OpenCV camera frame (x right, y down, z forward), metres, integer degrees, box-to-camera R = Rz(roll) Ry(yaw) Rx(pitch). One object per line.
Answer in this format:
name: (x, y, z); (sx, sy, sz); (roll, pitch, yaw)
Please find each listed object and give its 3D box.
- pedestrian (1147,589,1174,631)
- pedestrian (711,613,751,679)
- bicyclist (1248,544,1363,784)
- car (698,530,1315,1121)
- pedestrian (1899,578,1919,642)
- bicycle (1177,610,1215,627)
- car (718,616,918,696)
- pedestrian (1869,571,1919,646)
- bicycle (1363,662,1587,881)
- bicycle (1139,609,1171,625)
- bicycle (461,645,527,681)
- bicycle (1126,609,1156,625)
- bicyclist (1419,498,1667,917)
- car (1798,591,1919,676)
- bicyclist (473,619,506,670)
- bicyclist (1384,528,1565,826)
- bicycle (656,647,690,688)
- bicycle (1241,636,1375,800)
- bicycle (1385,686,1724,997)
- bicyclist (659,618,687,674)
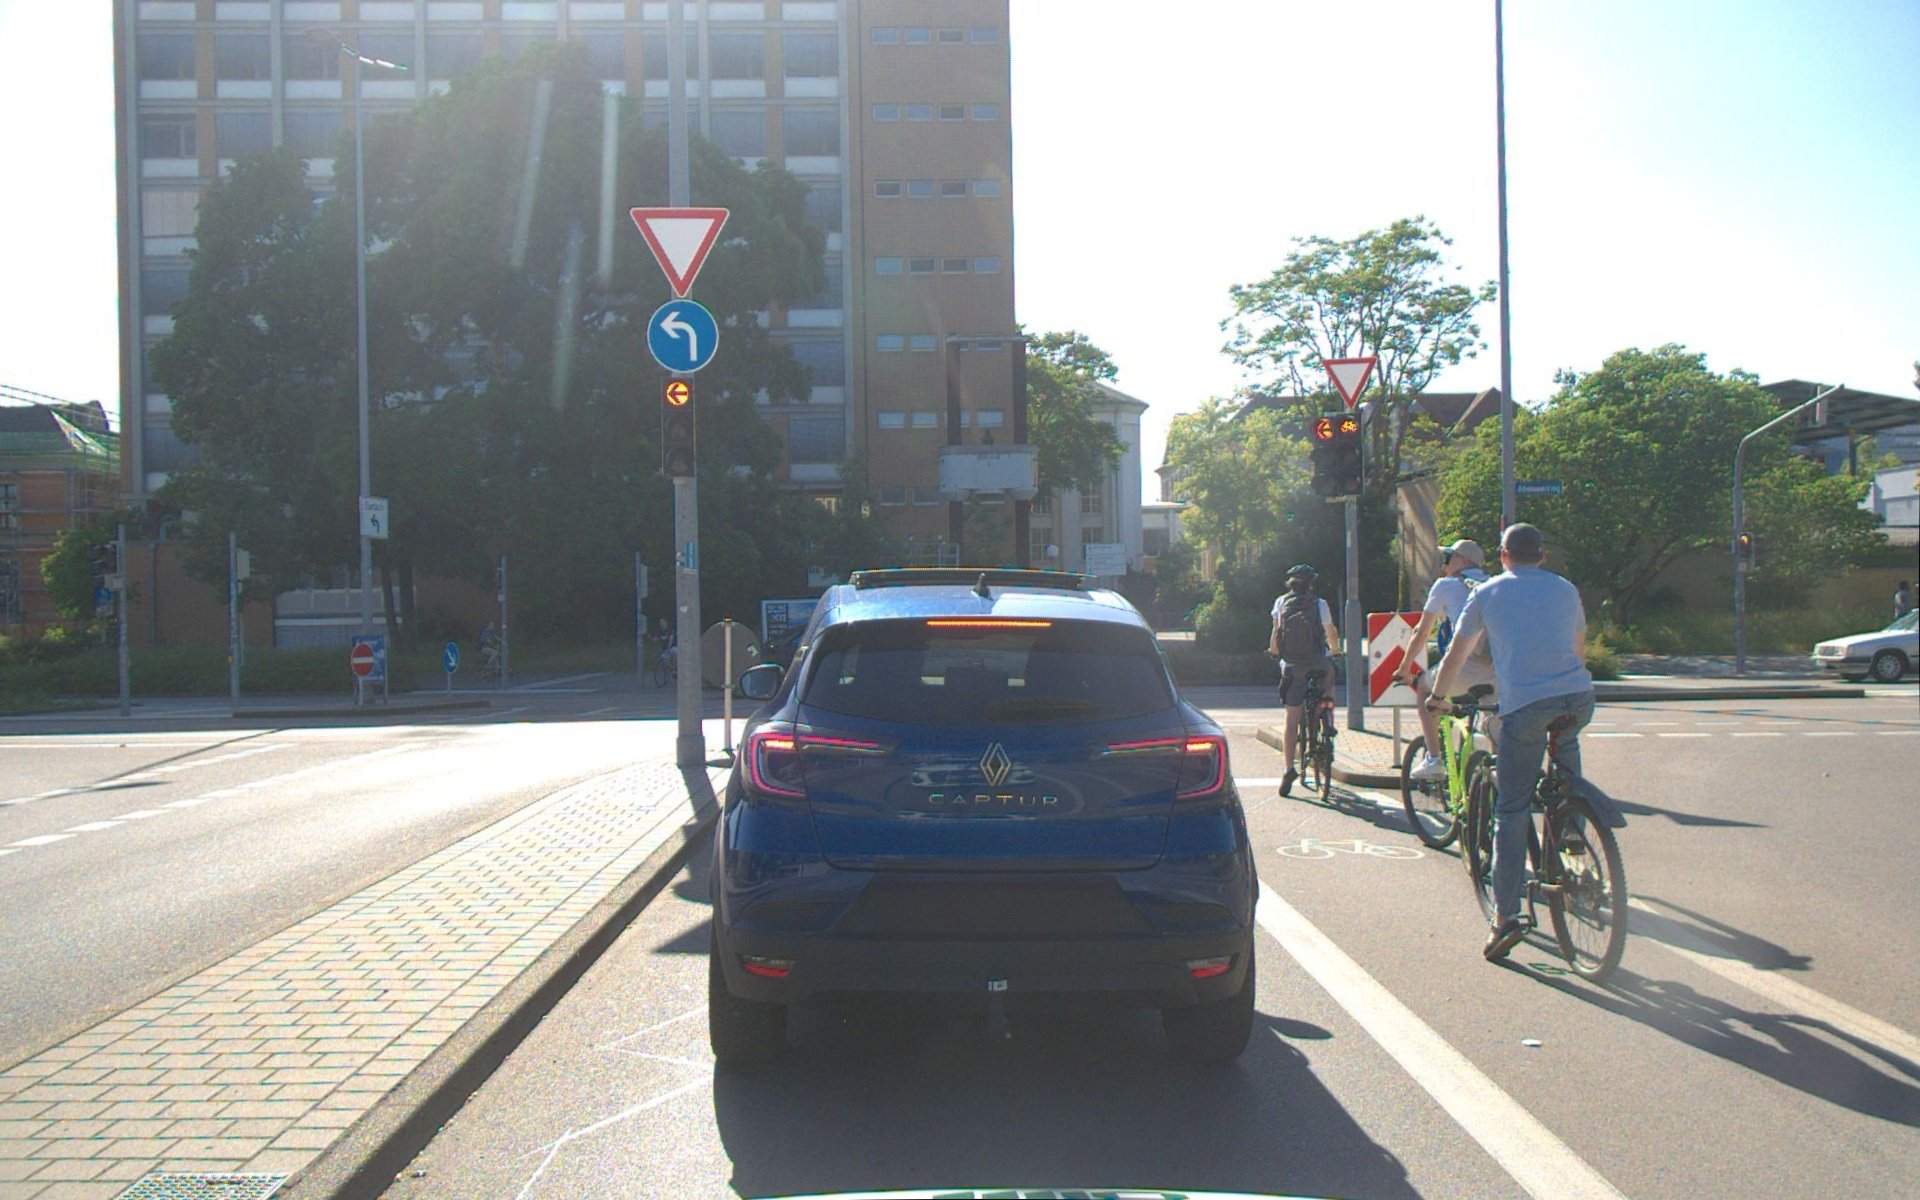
pedestrian: (9.822, 0.492, 81.216); (1.132, 2.049, 1.164); (-1, 0, -1)
pedestrian: (-6.661, 1.322, 48.115); (0.912, 1.888, 0.808); (-1, 0, 8)
bicyclist: (2.709, 0.489, 13.042); (0.663, 1.816, 0.939); (1, -1, -2)
car: (0.084, 0.642, 6.673); (1.758, 1.684, 3.852); (1, 0, -2)
pedestrian: (25.057, 0.245, 42.921); (0.960, 1.632, 0.827); (-1, 0, 13)
bicycle: (11.859, 0.930, 83.207); (1.739, 0.837, 0.763); (-1, 0, -11)
car: (-3.011, 1.181, 35.424); (3.901, 1.598, 1.837); (-1, 0, 11)
pedestrian: (24.080, 0.215, 42.222); (1.269, 1.888, 0.967); (-1, 0, 11)
bicycle: (2.926, 0.934, 9.588); (0.657, 1.069, 1.843); (1, 0, -2)
bicycle: (11.202, 0.982, 94.998); (1.735, 0.914, 0.765); (-1, 0, -1)
bicycle: (-13.364, 1.805, 47.458); (1.827, 0.975, 0.623); (-1, 0, 24)
bicycle: (10.856, 1.012, 99.357); (1.735, 0.908, 0.765); (-1, 0, -1)
bicyclist: (2.517, 0.439, 7.228); (0.725, 1.703, 0.865); (-1, 0, -3)
car: (19.490, 0.625, 32.777); (4.760, 1.621, 1.939); (-1, 0, 6)
bicyclist: (-13.527, 1.269, 47.526); (0.624, 1.437, 0.649); (-1, 0, 25)
bicyclist: (2.937, 0.419, 9.526); (0.660, 1.610, 1.081); (1, 0, -2)
bicycle: (-7.597, 1.801, 43.745); (0.687, 1.025, 1.860); (-1, -3, -16)
bicycle: (2.703, 0.883, 13.033); (0.602, 1.158, 1.825); (0, 0, -2)
bicycle: (2.526, 0.974, 7.290); (0.732, 1.069, 1.902); (-1, 0, -2)
bicyclist: (-7.581, 1.225, 43.686); (0.637, 1.437, 0.635); (-1, -3, -17)
